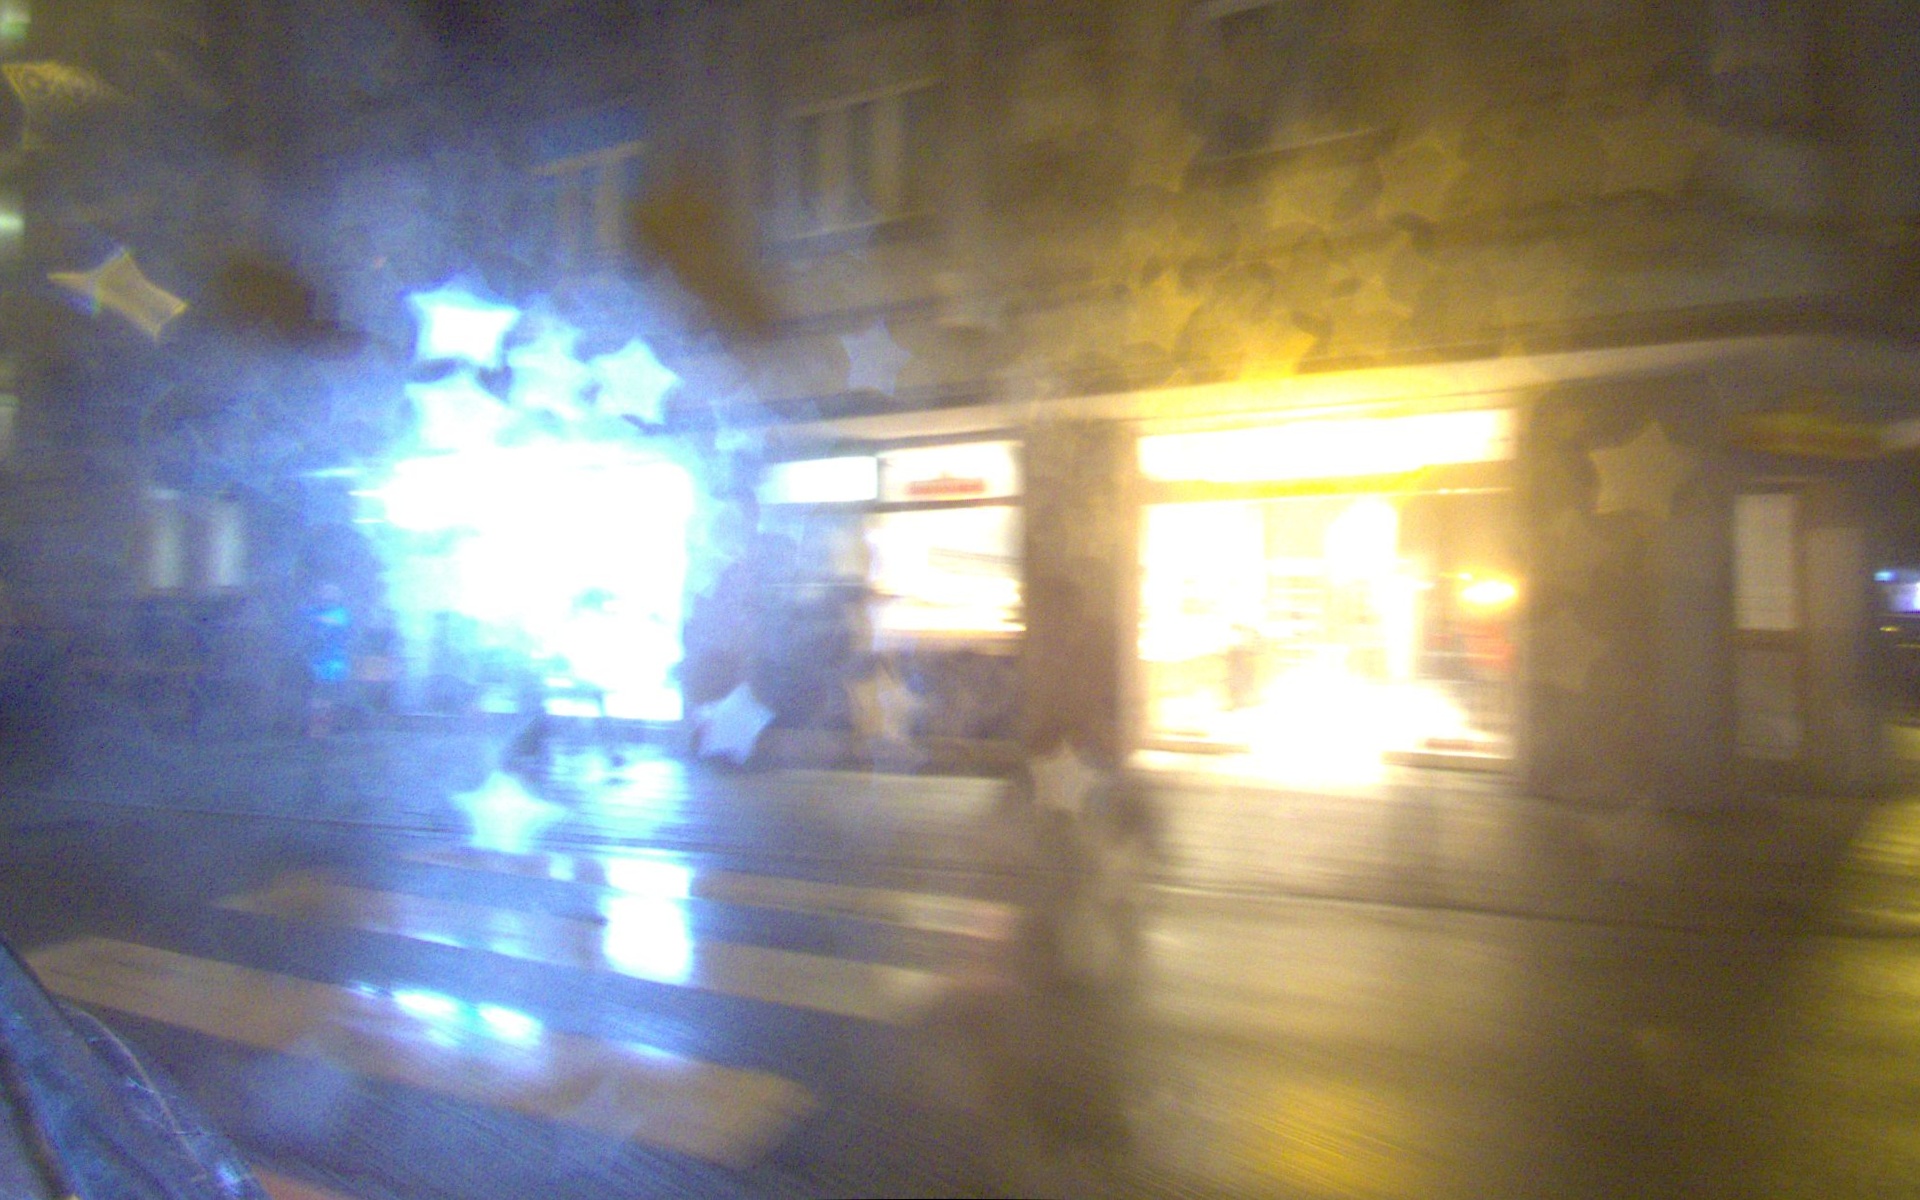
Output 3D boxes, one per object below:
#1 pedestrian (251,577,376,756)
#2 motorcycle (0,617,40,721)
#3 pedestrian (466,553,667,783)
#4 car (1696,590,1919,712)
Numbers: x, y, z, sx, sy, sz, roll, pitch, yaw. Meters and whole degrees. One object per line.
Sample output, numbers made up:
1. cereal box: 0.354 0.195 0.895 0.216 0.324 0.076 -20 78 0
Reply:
1. pedestrian: -7.012 0.687 10.981 1.072 1.846 0.671 -1 0 26
2. motorcycle: -14.352 0.997 14.985 1.448 1.482 0.534 -1 0 24
3. pedestrian: -3.467 0.569 8.966 1.406 1.877 0.951 -1 -1 23
4. car: 15.974 0.860 18.330 3.981 2.029 1.981 0 1 28
